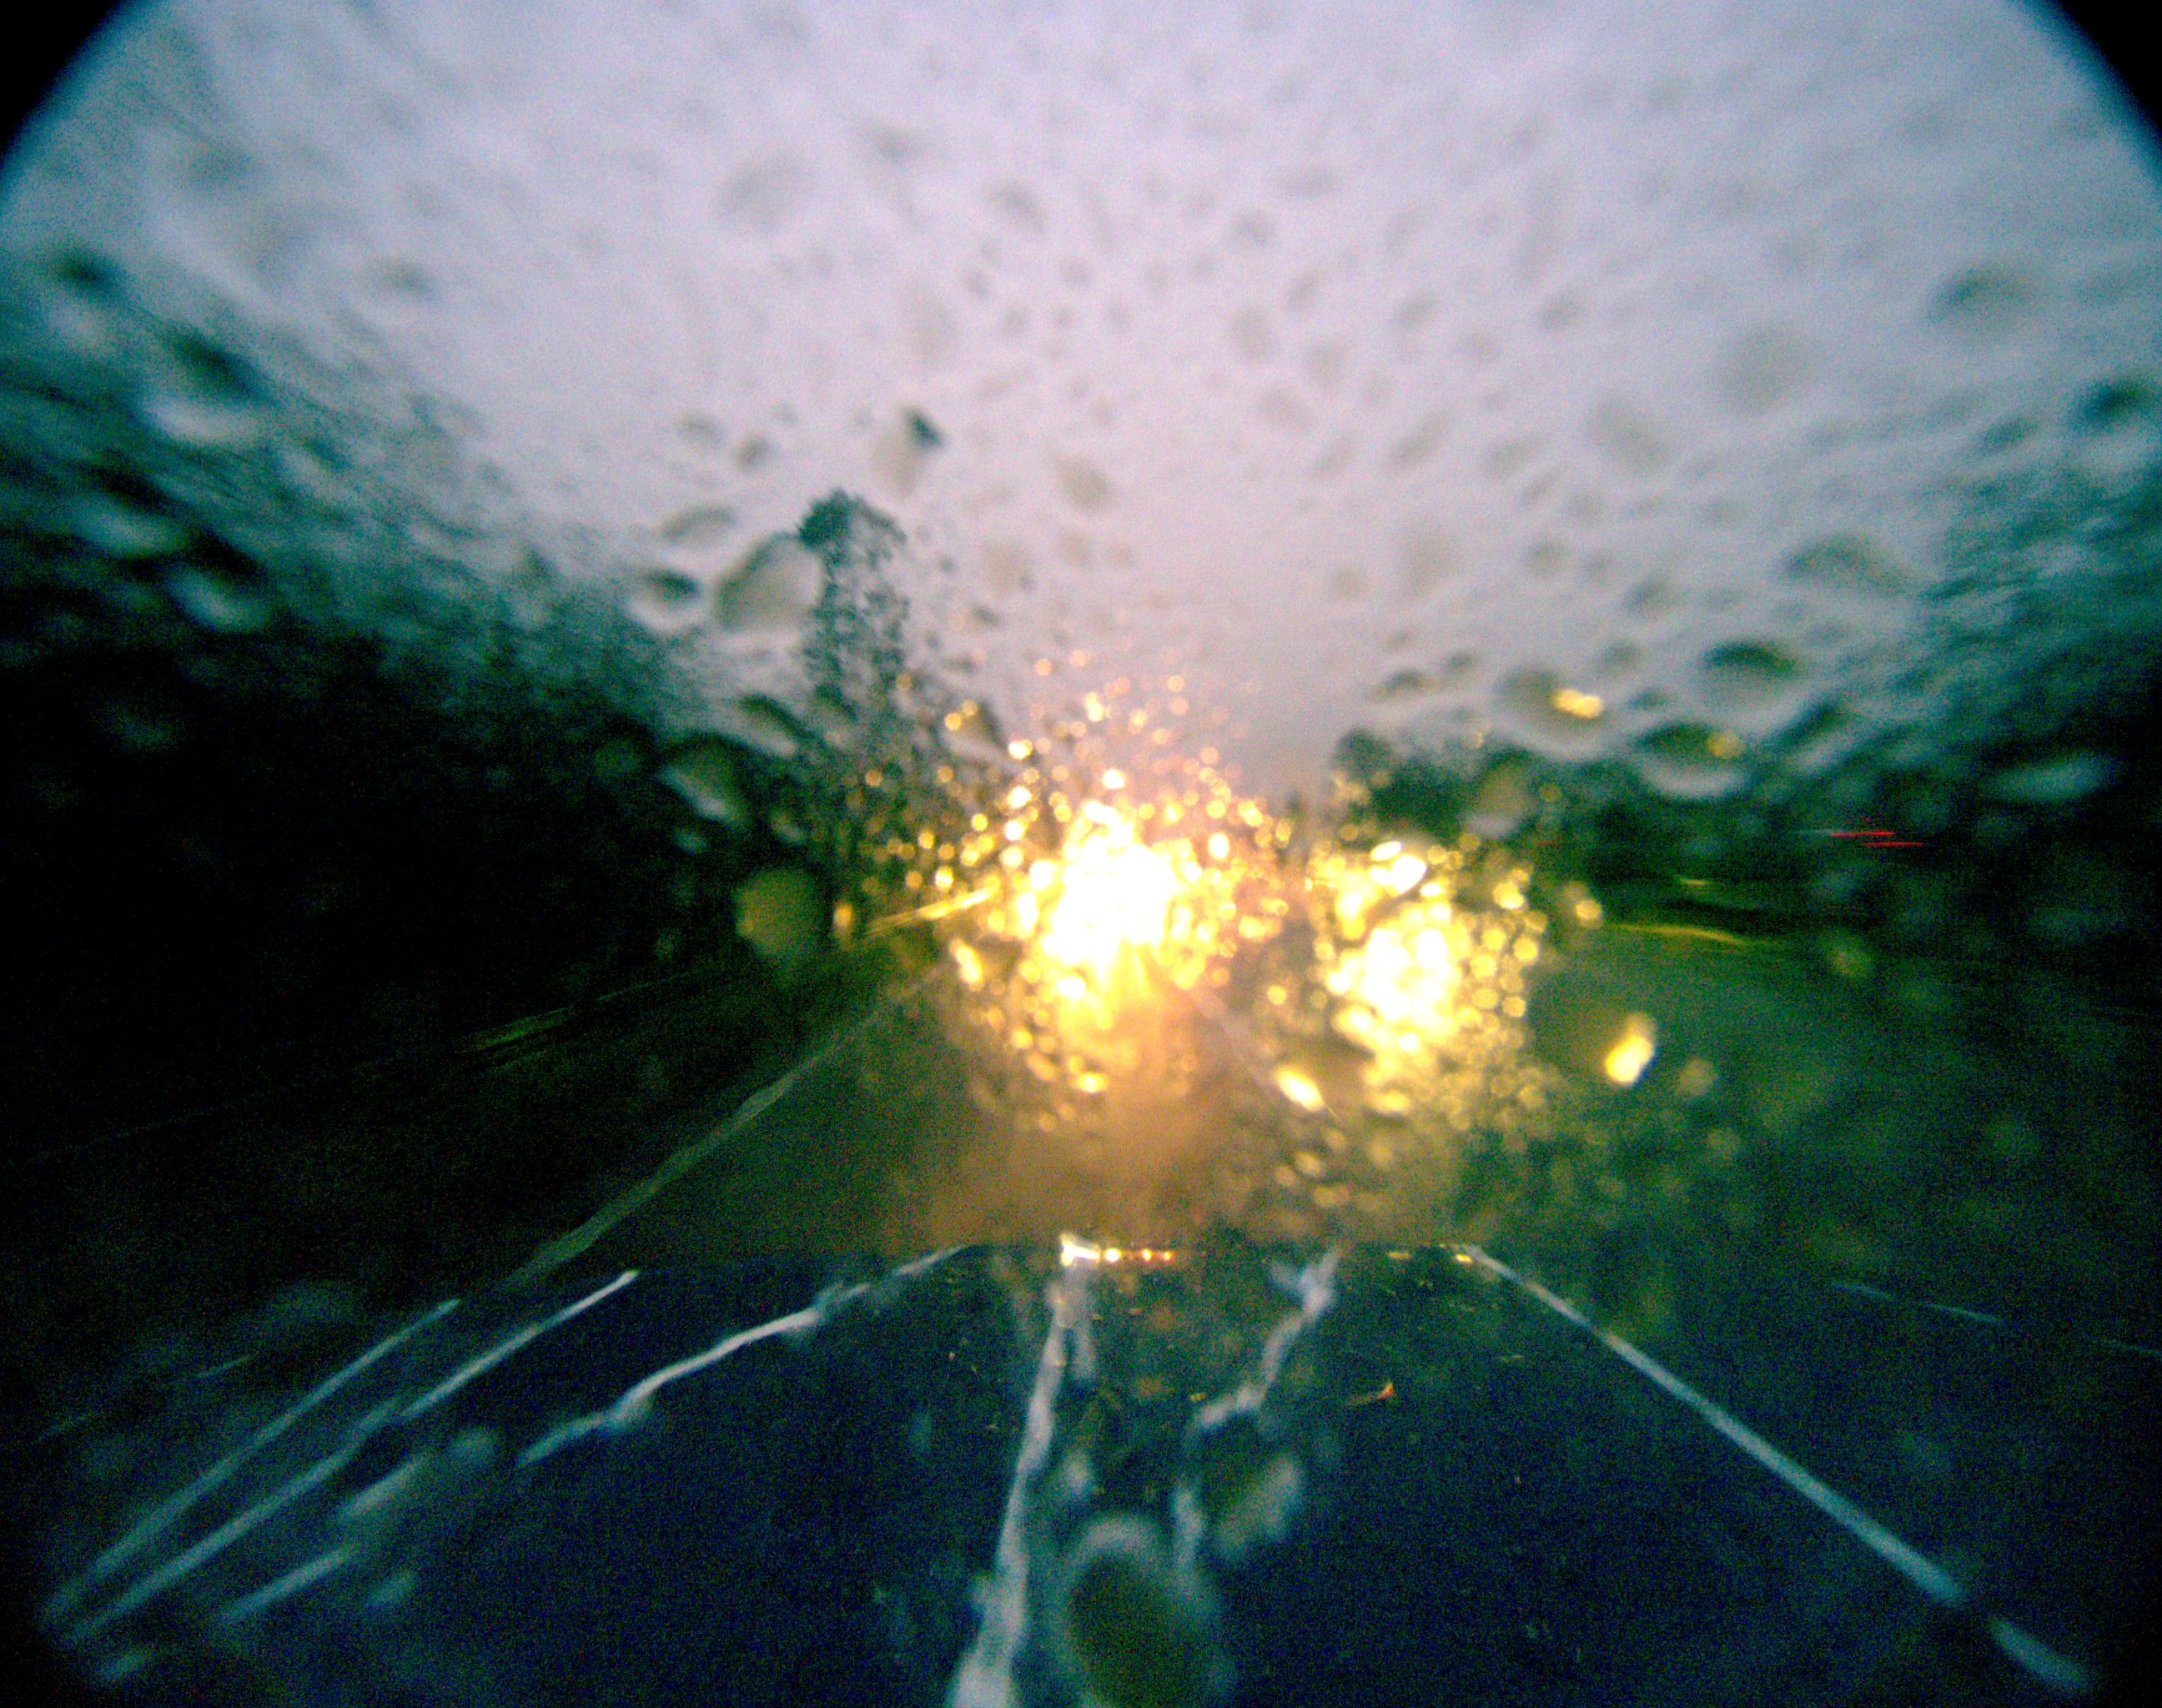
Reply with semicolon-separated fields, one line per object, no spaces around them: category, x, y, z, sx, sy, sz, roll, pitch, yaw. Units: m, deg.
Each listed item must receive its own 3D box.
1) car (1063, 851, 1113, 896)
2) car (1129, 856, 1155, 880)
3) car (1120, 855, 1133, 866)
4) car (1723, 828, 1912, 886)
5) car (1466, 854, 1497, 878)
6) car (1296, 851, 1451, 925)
car;0.409;0.884;36.187;1.998;2.002;3.965;-1;0;5
car;4.298;1.020;53.543;1.653;1.502;3.878;4;-3;5
car;5.646;0.823;93.585;1.482;1.198;3.350;-4;0;5
car;21.644;0.069;22.580;1.747;1.478;4.000;-3;0;2
car;30.501;0.882;57.770;1.745;1.478;4.436;-4;0;31
car;6.775;0.735;18.161;1.803;1.459;4.413;-3;0;-2
